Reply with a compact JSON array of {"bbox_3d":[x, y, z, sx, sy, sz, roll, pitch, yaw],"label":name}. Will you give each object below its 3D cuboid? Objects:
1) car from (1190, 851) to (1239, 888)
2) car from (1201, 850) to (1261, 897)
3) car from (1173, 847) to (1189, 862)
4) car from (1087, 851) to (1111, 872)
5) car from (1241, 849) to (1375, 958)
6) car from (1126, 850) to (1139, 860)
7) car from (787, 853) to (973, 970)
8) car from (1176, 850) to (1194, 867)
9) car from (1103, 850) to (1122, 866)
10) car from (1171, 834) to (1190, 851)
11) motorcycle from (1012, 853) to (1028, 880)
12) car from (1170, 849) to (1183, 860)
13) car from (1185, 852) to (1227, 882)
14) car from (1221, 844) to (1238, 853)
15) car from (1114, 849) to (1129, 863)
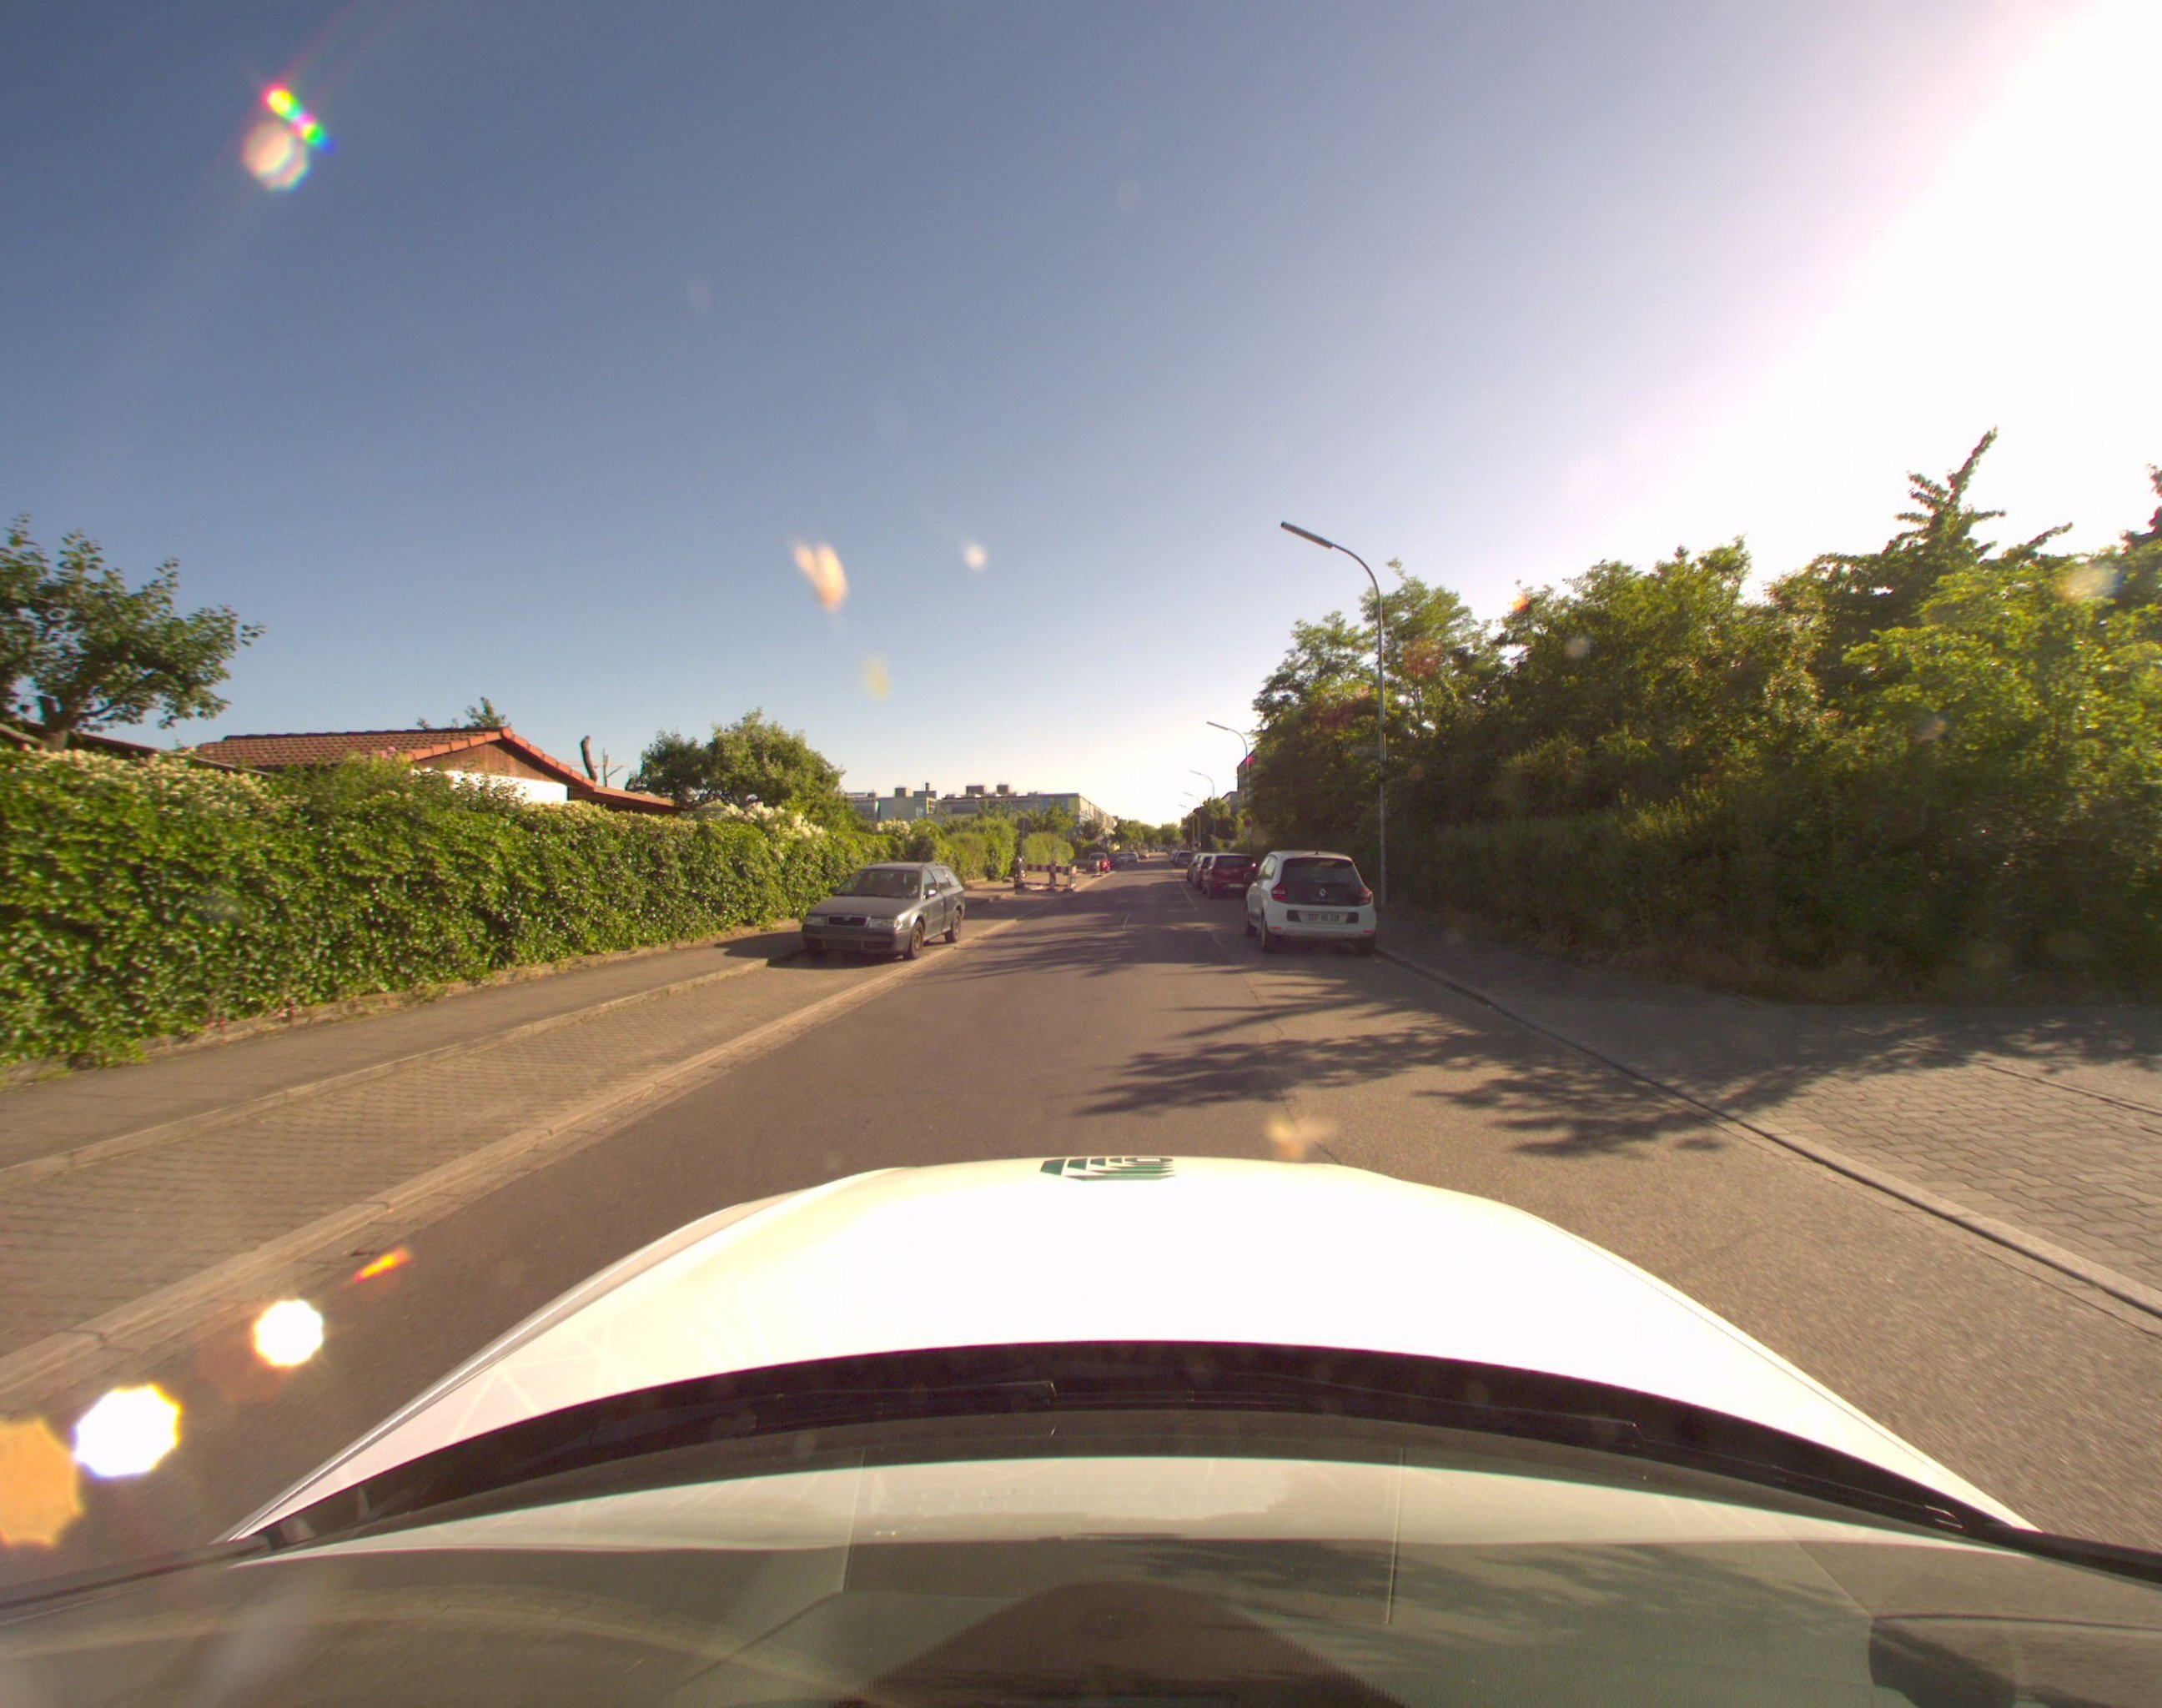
[{"bbox_3d":[5.580,0.601,34.499,1.647,1.444,4.662,1,0,5],"label":"car"},{"bbox_3d":[5.157,0.639,28.375,1.647,1.486,3.844,1,0,5],"label":"car"},{"bbox_3d":[11.230,0.050,91.703,1.733,1.625,4.185,0,0,5],"label":"car"},{"bbox_3d":[1.367,0.530,60.553,1.552,1.494,3.576,-2,0,5],"label":"car"},{"bbox_3d":[3.636,0.700,13.577,1.548,1.538,3.561,1,0,6],"label":"car"},{"bbox_3d":[7.978,0.182,125.056,1.845,1.428,4.140,0,0,5],"label":"car"},{"bbox_3d":[-3.198,0.824,13.954,1.635,1.556,4.424,3,1,5],"label":"car"},{"bbox_3d":[9.711,0.419,76.265,1.614,1.526,3.909,1,0,6],"label":"car"},{"bbox_3d":[3.088,0.381,78.807,1.552,1.494,3.576,1,0,5],"label":"car"},{"bbox_3d":[9.963,-1.105,81.557,1.668,1.608,4.184,1,0,5],"label":"car"},{"bbox_3d":[-2.960,0.591,39.925,0.564,1.268,2.092,0,0,2],"label":"motorcycle"},{"bbox_3d":[13.542,0.049,115.513,1.733,1.428,4.140,0,0,5],"label":"car"},{"bbox_3d":[6.311,0.610,41.377,1.746,1.413,4.662,1,0,4],"label":"car"},{"bbox_3d":[27.843,-1.045,152.661,3.198,1.549,1.453,0,0,8],"label":"car"},{"bbox_3d":[4.831,0.219,95.791,1.552,1.494,3.764,-2,0,5],"label":"car"}]
